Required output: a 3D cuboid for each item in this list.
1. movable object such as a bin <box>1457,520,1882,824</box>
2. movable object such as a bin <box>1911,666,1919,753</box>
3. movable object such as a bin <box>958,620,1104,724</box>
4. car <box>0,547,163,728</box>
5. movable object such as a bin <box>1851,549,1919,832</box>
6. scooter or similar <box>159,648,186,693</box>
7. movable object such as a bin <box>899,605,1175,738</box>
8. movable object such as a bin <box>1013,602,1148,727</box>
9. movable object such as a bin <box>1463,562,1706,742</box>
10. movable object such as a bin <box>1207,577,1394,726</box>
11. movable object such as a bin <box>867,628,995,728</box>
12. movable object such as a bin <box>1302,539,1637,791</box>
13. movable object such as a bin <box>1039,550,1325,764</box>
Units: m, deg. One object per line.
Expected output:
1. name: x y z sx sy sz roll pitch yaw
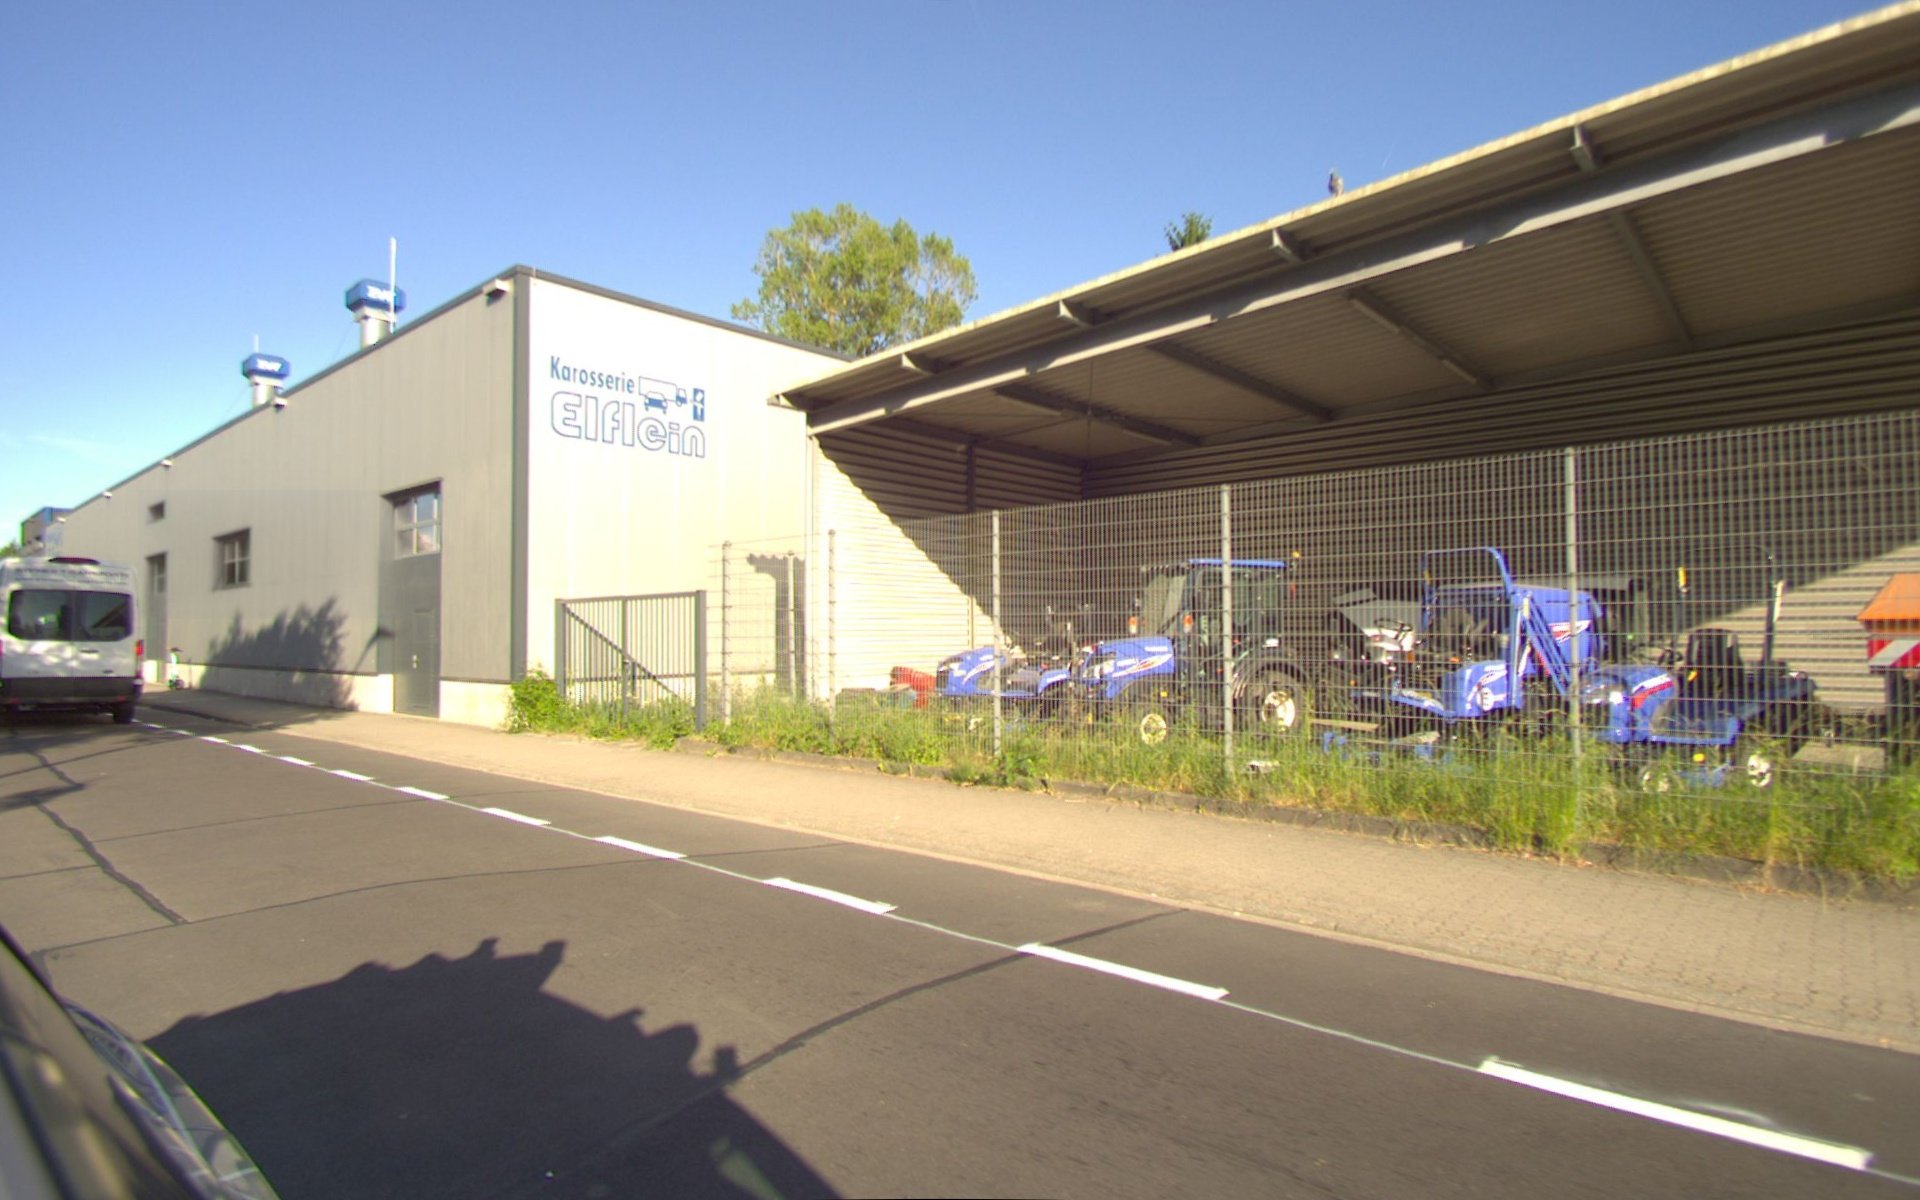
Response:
1. movable object such as a bin: 5.871 0.551 8.439 2.839 2.165 1.504 0 -3 -22
2. movable object such as a bin: 11.440 1.204 10.819 1.728 0.977 1.090 -3 -4 39
3. movable object such as a bin: 1.186 1.189 17.002 1.955 1.622 1.454 -3 -4 39
4. car: -16.521 0.703 18.271 5.923 2.802 2.101 -2 -5 41
5. movable object such as a bin: 7.685 0.612 7.442 1.524 1.849 3.008 -3 -4 39
6. scooter or similar: -23.034 2.048 29.594 1.059 1.277 0.411 -2 -3 42
7. movable object such as a bin: 1.008 0.923 13.770 3.346 1.625 1.631 0 -3 -19
8. movable object such as a bin: 2.178 1.151 18.297 1.846 2.109 1.560 -3 -4 39
9. movable object such as a bin: 8.176 0.677 13.294 2.476 2.109 1.560 -3 -4 39
10. movable object such as a bin: 5.270 0.797 15.696 2.309 2.109 1.560 -3 -4 39
11. movable object such as a bin: -0.429 1.157 15.415 1.324 1.413 1.454 -3 -4 39
12. movable object such as a bin: 4.922 0.590 9.819 2.752 2.142 1.389 0 -3 -23
13. movable object such as a bin: 2.472 0.621 11.507 2.725 2.181 1.528 0 -3 -19
